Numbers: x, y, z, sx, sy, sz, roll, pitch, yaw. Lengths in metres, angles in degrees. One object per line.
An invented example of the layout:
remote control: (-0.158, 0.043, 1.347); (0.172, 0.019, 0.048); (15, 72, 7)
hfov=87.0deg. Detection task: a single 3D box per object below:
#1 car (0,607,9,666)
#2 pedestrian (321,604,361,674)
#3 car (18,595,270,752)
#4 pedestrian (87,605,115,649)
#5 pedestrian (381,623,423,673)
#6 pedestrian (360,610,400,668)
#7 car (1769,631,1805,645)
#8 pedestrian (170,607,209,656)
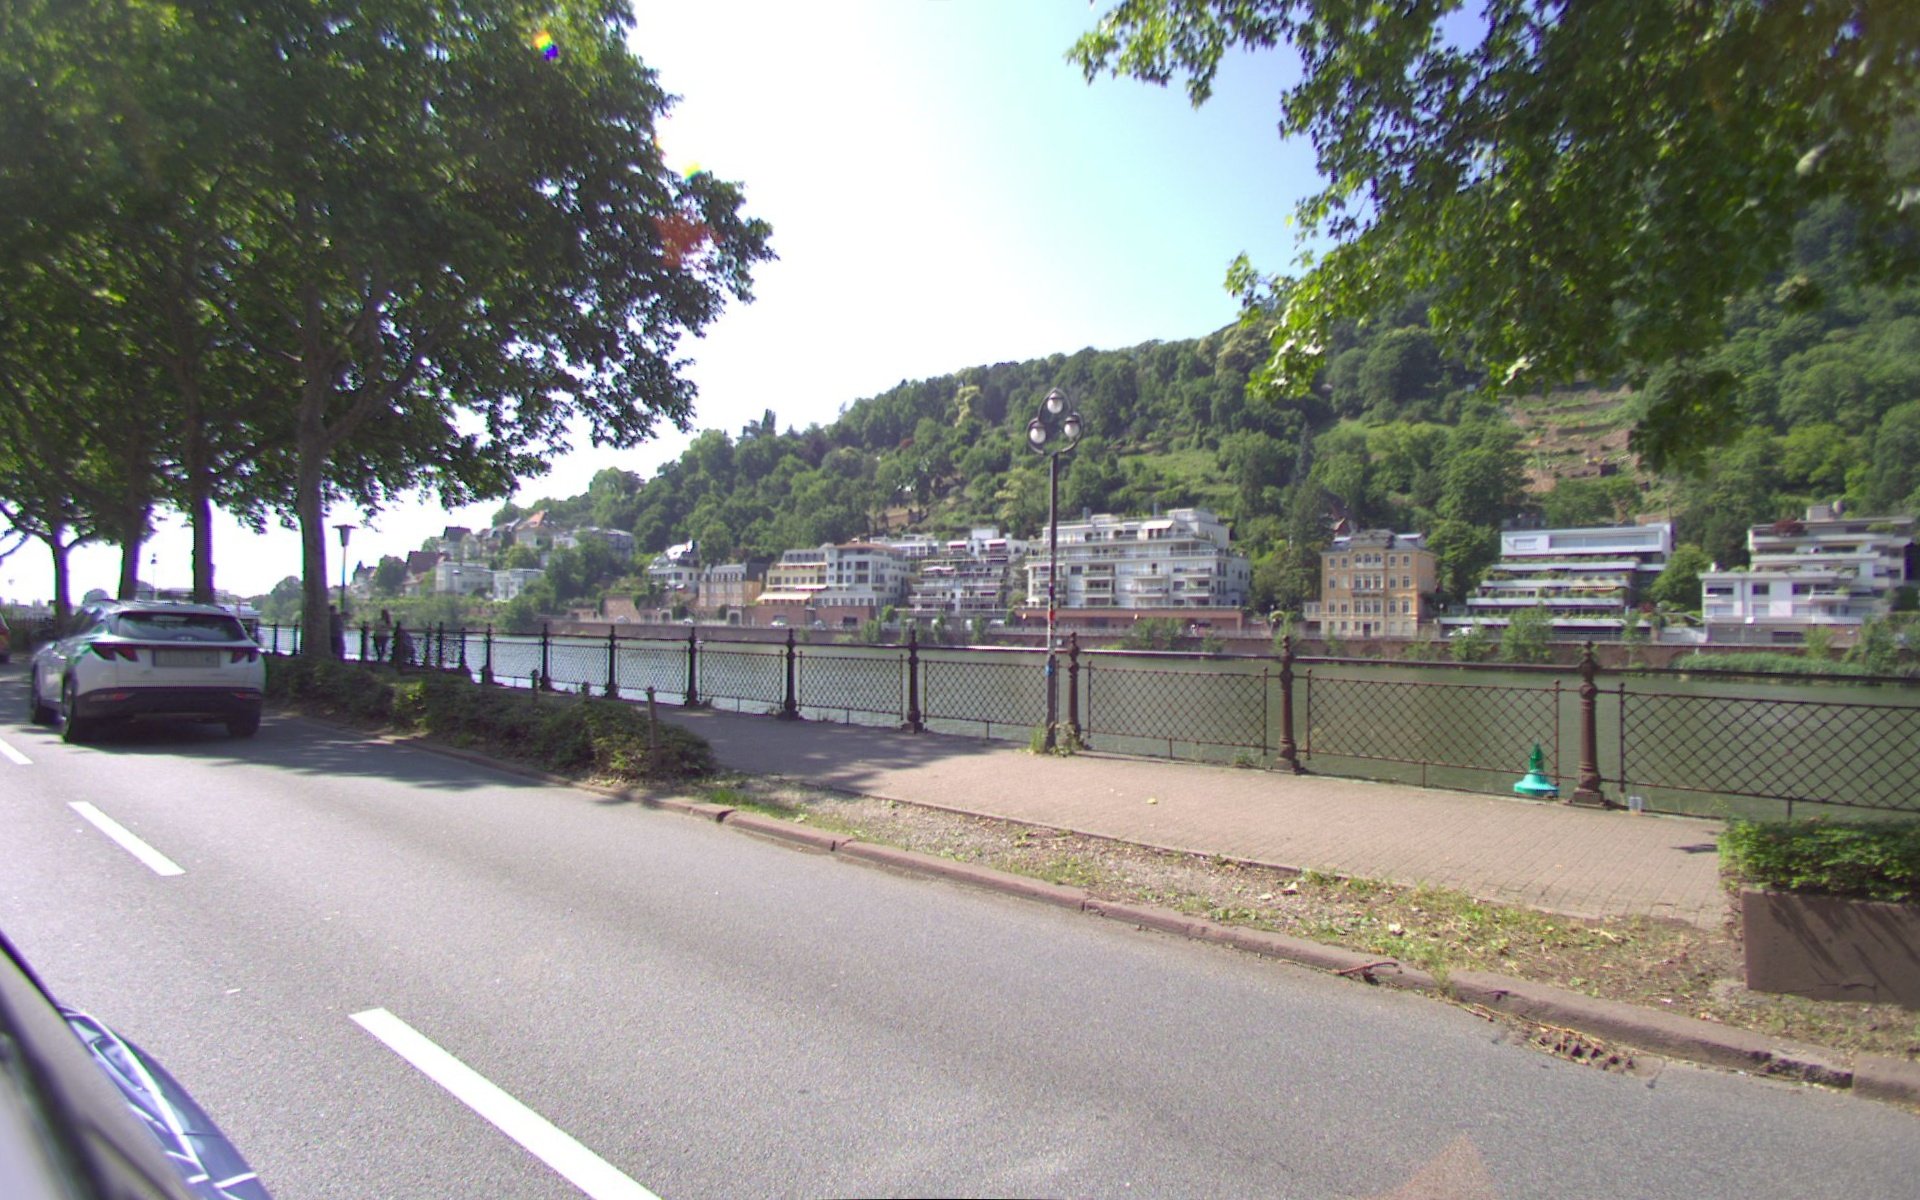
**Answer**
car: (-29.298, 0.999, 29.588); (4.220, 1.673, 1.656); (-1, -5, 41)
pedestrian: (-17.300, 1.080, 28.260); (0.756, 1.915, 0.772); (3, -3, -42)
car: (-10.401, 0.856, 12.805); (3.998, 1.673, 1.750); (-1, -4, 41)
pedestrian: (-36.894, 1.154, 43.468); (0.929, 1.863, 0.796); (0, 0, 41)
pedestrian: (-15.737, 1.350, 28.553); (0.770, 1.398, 0.758); (-1, -3, 40)
pedestrian: (-18.130, 1.223, 31.625); (0.829, 1.771, 0.767); (-1, -4, 40)
car: (122.686, 5.659, 150.183); (3.998, 2.029, 1.973); (-2, -2, 41)
pedestrian: (-32.779, 1.316, 43.064); (1.032, 2.029, 1.038); (0, 0, -19)
